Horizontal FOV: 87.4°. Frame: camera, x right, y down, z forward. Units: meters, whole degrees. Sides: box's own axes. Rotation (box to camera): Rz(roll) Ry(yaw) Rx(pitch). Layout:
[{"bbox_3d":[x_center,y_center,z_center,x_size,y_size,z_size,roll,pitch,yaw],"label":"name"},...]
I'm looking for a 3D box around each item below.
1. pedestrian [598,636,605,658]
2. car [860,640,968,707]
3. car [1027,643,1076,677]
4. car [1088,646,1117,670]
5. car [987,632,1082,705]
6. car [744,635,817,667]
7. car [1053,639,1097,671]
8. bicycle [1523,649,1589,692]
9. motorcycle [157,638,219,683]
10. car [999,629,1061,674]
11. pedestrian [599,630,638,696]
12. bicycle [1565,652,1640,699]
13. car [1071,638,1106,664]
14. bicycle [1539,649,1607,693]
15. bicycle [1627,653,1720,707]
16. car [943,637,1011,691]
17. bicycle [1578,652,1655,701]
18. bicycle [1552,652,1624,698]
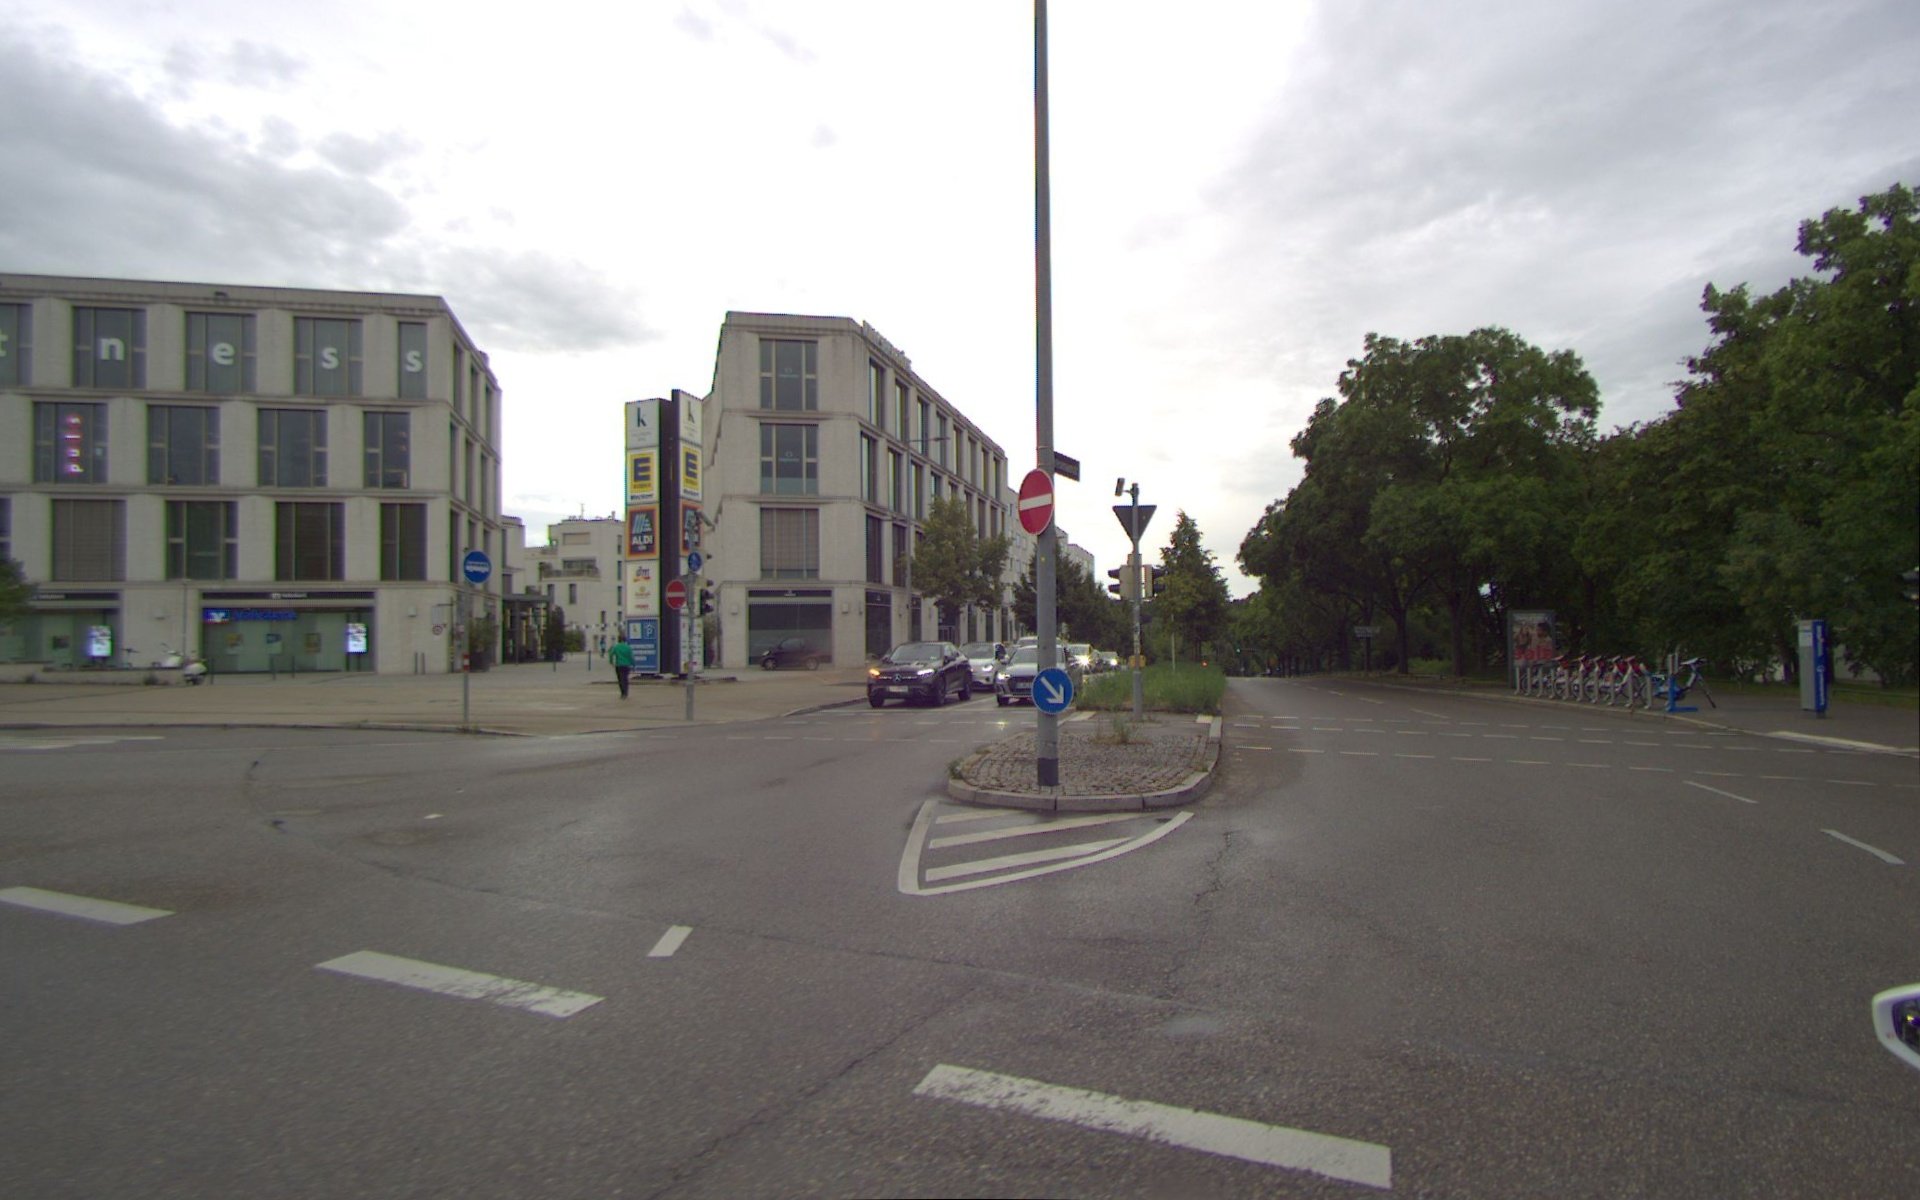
[{"bbox_3d":[-29.972,3.924,83.905,0.453,1.869,0.486,1,-1,-11],"label":"pedestrian"},{"bbox_3d":[-1.114,1.872,26.453,1.794,1.539,4.066,-2,-2,13],"label":"car"},{"bbox_3d":[4.536,2.916,49.220,1.714,1.487,4.062,-2,-2,14],"label":"car"},{"bbox_3d":[10.103,4.102,71.204,1.666,1.602,4.020,0,-2,14],"label":"car"},{"bbox_3d":[1.994,1.671,25.764,1.817,1.596,4.167,0,-1,13],"label":"car"},{"bbox_3d":[-8.209,2.317,45.897,3.238,1.394,1.564,1,-2,-12],"label":"car"},{"bbox_3d":[6.410,3.013,55.642,1.798,1.622,4.677,-2,-2,14],"label":"car"},{"bbox_3d":[17.267,2.040,29.112,1.460,1.146,0.557,-3,-3,8],"label":"bicycle"},{"bbox_3d":[-25.586,1.982,33.313,0.517,1.421,1.756,0,-1,7],"label":"motorcycle"},{"bbox_3d":[3.124,2.189,43.854,1.812,1.826,4.775,1,-1,15],"label":"car"},{"bbox_3d":[-9.081,1.653,26.711,0.672,1.709,0.747,-1,-2,44],"label":"pedestrian"},{"bbox_3d":[16.779,1.980,26.251,1.460,1.146,0.557,-3,-3,8],"label":"bicycle"},{"bbox_3d":[7.915,3.099,61.693,1.613,1.429,3.999,-2,-2,14],"label":"car"},{"bbox_3d":[17.202,1.993,28.210,1.460,1.146,0.557,-3,-3,8],"label":"bicycle"},{"bbox_3d":[16.187,1.814,22.815,1.569,1.146,0.557,-3,-3,8],"label":"bicycle"},{"bbox_3d":[0.607,2.057,32.954,1.622,1.597,3.705,-2,-2,10],"label":"car"},{"bbox_3d":[16.617,1.934,25.456,1.460,1.146,0.557,-3,-3,8],"label":"bicycle"},{"bbox_3d":[16.905,2.015,27.057,1.460,1.146,0.557,-3,-3,8],"label":"bicycle"}]
